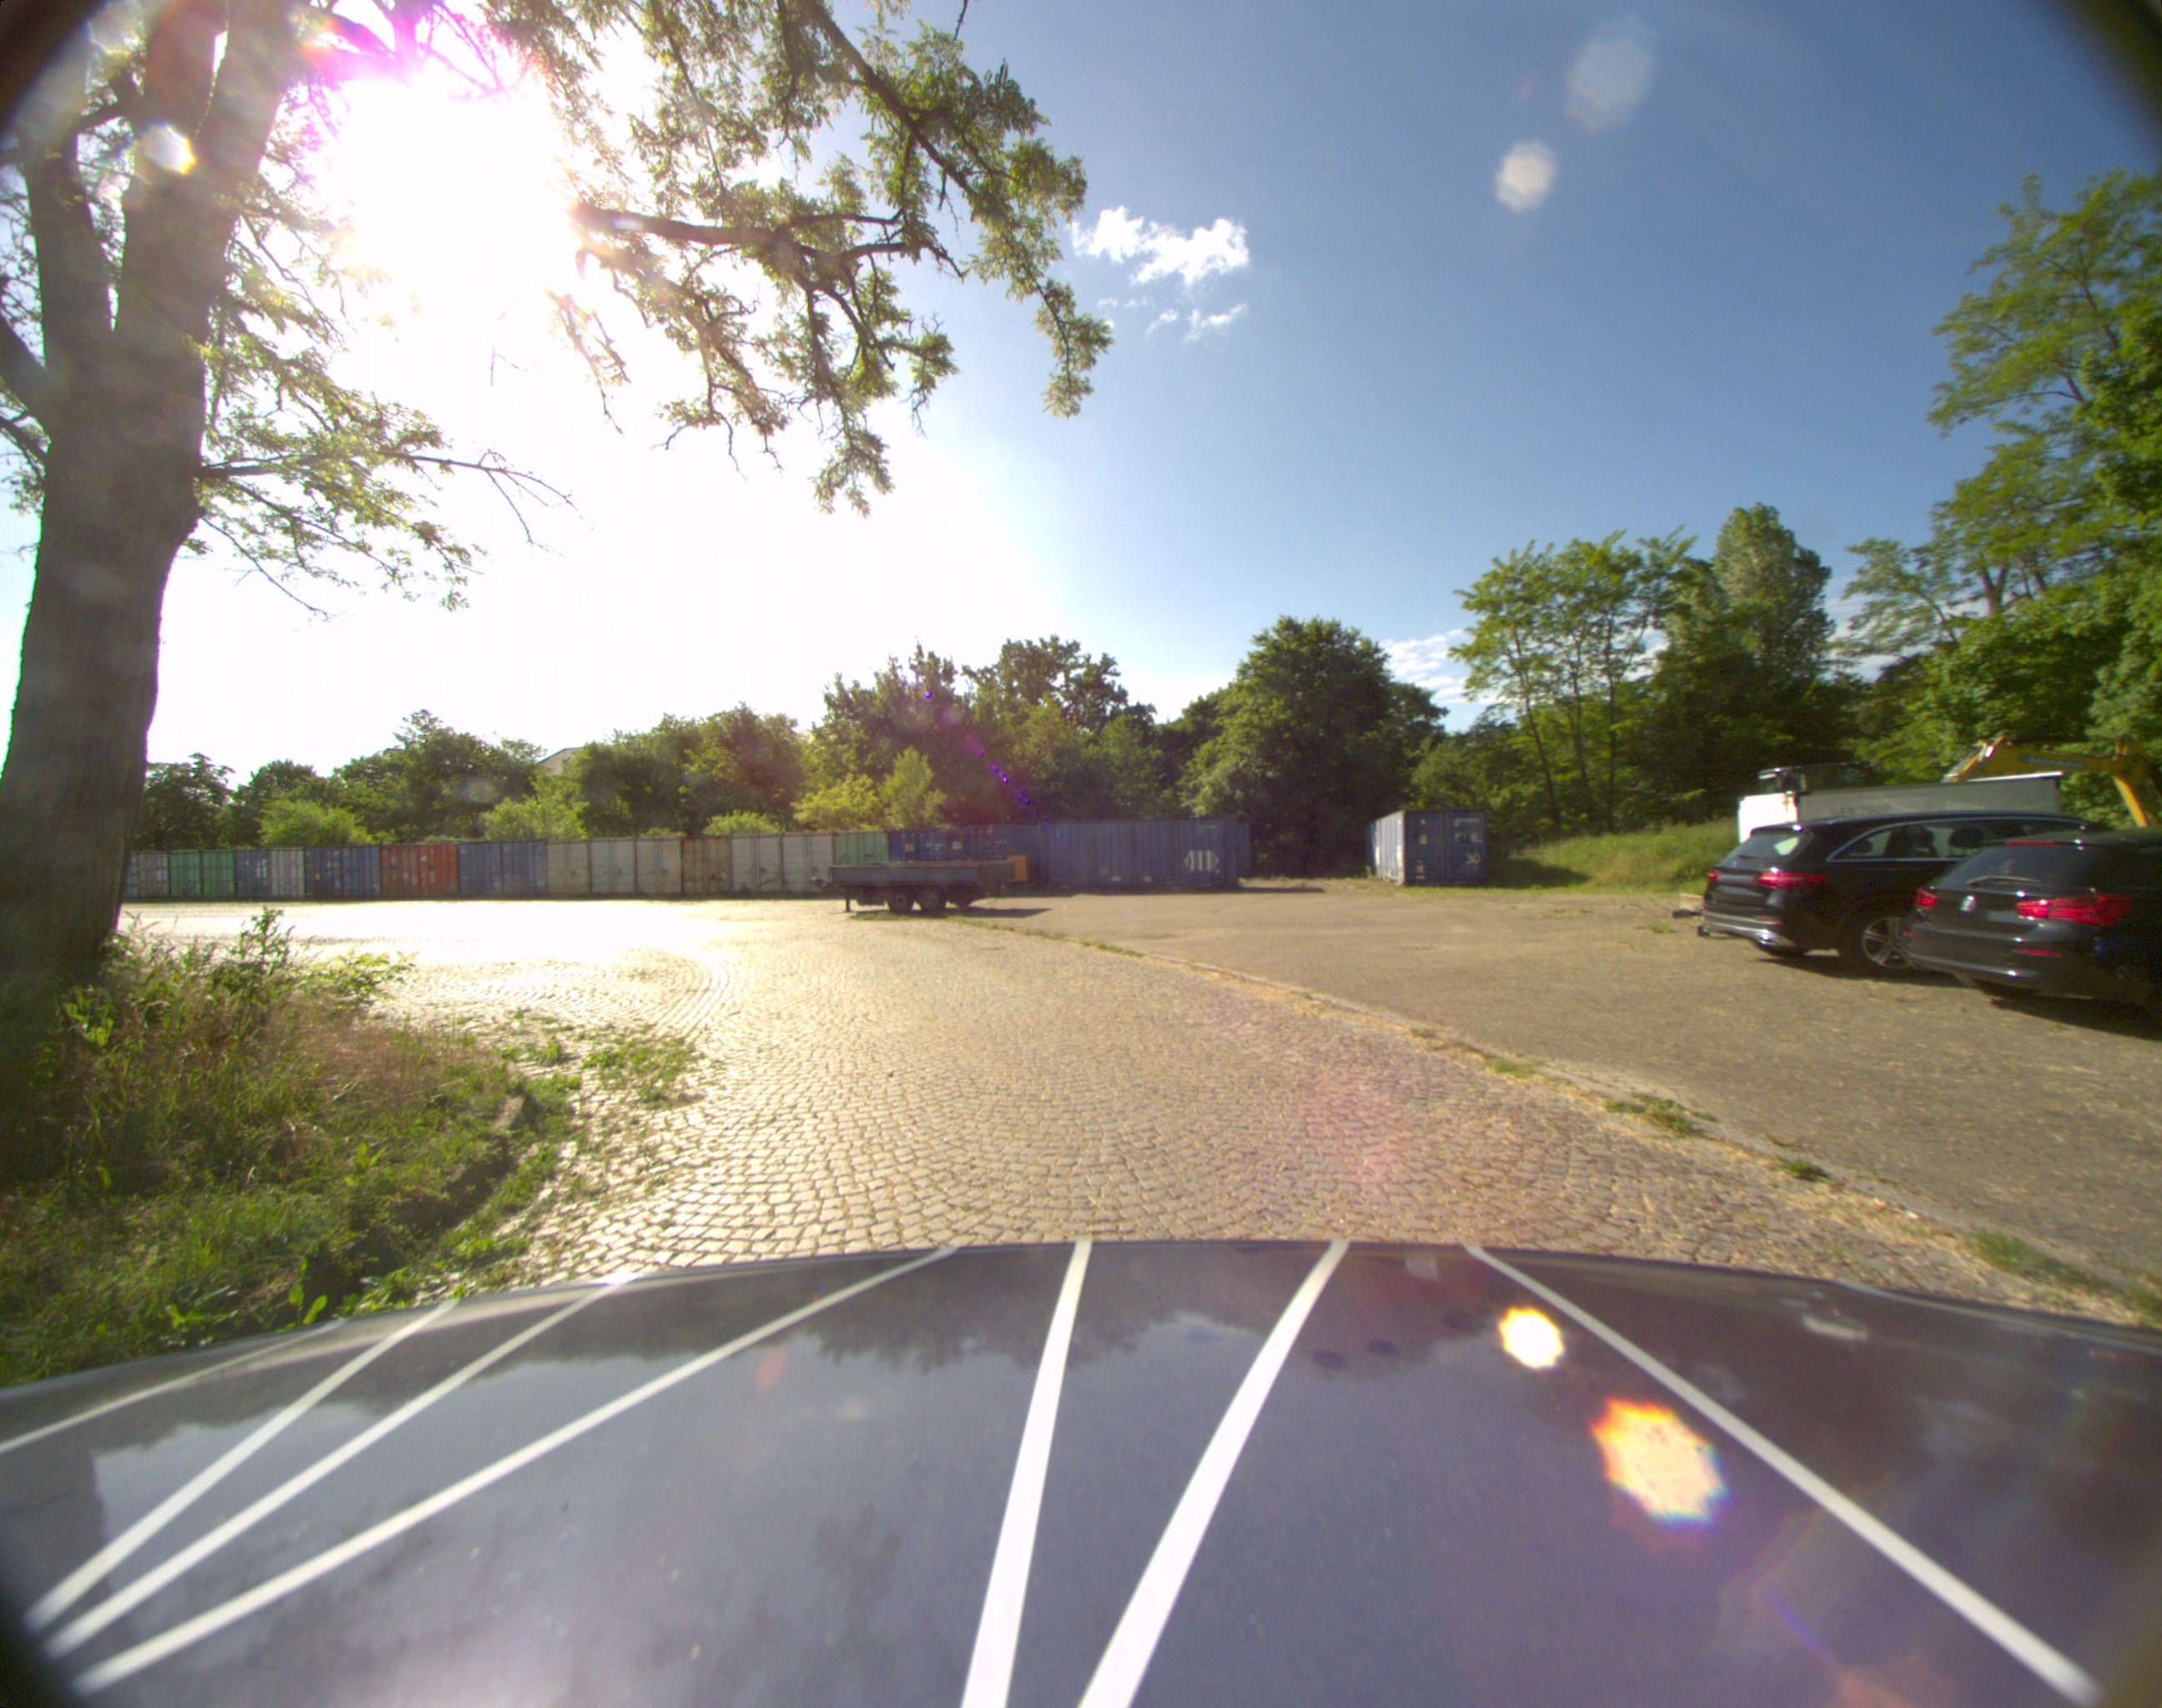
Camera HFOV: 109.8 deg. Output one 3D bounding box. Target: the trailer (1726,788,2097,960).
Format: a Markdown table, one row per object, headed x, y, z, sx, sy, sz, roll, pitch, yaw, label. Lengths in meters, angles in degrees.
| x | y | z | sx | sy | sz | roll | pitch | yaw | label |
| --- | --- | --- | --- | --- | --- | --- | --- | --- | --- |
| 10.935 | 0.271 | 10.286 | 2.844 | 2.039 | 1.826 | -2 | 1 | 17 | trailer |

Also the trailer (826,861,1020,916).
| x | y | z | sx | sy | sz | roll | pitch | yaw | label |
| --- | --- | --- | --- | --- | --- | --- | --- | --- | --- |
| -4.525 | 0.956 | 22.157 | 4.852 | 1.406 | 2.652 | 0 | 1 | 16 | trailer |

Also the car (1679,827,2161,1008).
| x | y | z | sx | sy | sz | roll | pitch | yaw | label |
| --- | --- | --- | --- | --- | --- | --- | --- | --- | --- |
| 9.120 | 0.586 | 7.888 | 4.123 | 1.580 | 1.973 | -2 | 1 | 16 | car |

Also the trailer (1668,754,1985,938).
| x | y | z | sx | sy | sz | roll | pitch | yaw | label |
| --- | --- | --- | --- | --- | --- | --- | --- | --- | --- |
| 11.845 | -0.085 | 12.388 | 2.845 | 2.524 | 2.268 | -4 | 0 | 17 | trailer |

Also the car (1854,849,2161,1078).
| x | y | z | sx | sy | sz | roll | pitch | yaw | label |
| --- | --- | --- | --- | --- | --- | --- | --- | --- | --- |
| 8.552 | 0.682 | 5.435 | 3.782 | 1.403 | 1.897 | -2 | 1 | 16 | car |
